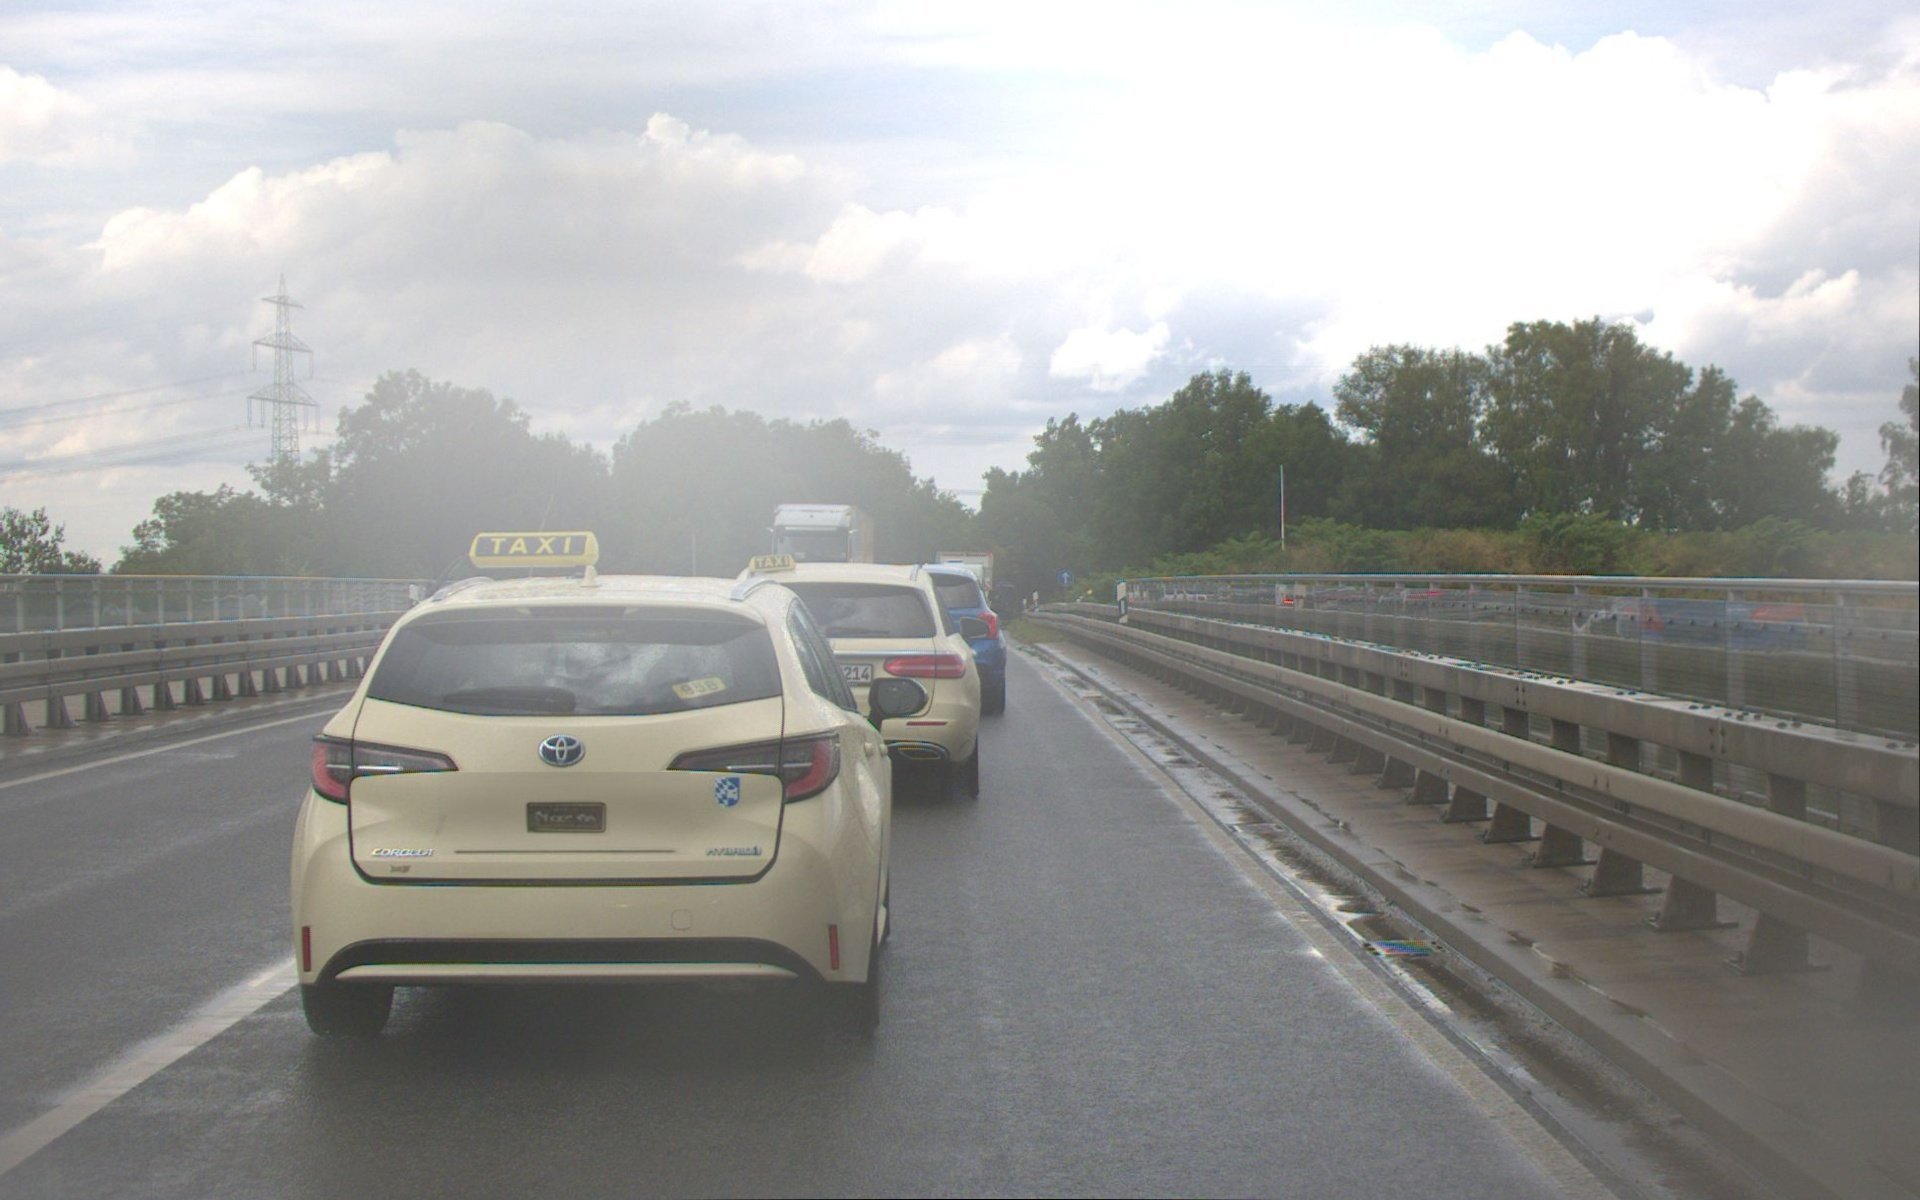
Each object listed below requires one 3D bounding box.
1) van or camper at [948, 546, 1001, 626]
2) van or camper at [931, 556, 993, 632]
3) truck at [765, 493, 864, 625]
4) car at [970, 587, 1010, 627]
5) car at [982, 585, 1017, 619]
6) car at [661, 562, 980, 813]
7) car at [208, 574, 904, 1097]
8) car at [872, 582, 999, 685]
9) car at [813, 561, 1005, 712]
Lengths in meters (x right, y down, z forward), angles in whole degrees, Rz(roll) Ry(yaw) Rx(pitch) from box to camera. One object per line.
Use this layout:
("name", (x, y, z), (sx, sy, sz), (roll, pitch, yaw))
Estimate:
("van or camper", (0.663, -0.647, 157.641), (2.332, 3.550, 6.306), (1, 0, 0))
("van or camper", (0.060, -0.251, 134.449), (2.332, 2.854, 6.306), (1, 0, 0))
("truck", (-4.571, -1.308, 109.759), (2.682, 4.003, 10.055), (0, 1, 0))
("car", (1.584, 0.359, 180.625), (1.993, 2.007, 4.000), (1, 0, -1))
("car", (2.365, 0.088, 207.268), (1.993, 2.007, 4.000), (1, 0, -1))
("car", (-0.828, 0.491, 22.278), (1.854, 1.438, 4.171), (1, 1, 0))
("car", (-1.150, 0.634, 11.570), (1.854, 1.389, 4.171), (1, 1, 0))
("car", (-0.372, 0.481, 52.652), (1.854, 1.438, 4.171), (1, 1, 0))
("car", (-0.509, 0.334, 35.620), (1.854, 1.438, 4.171), (1, 1, 0))
